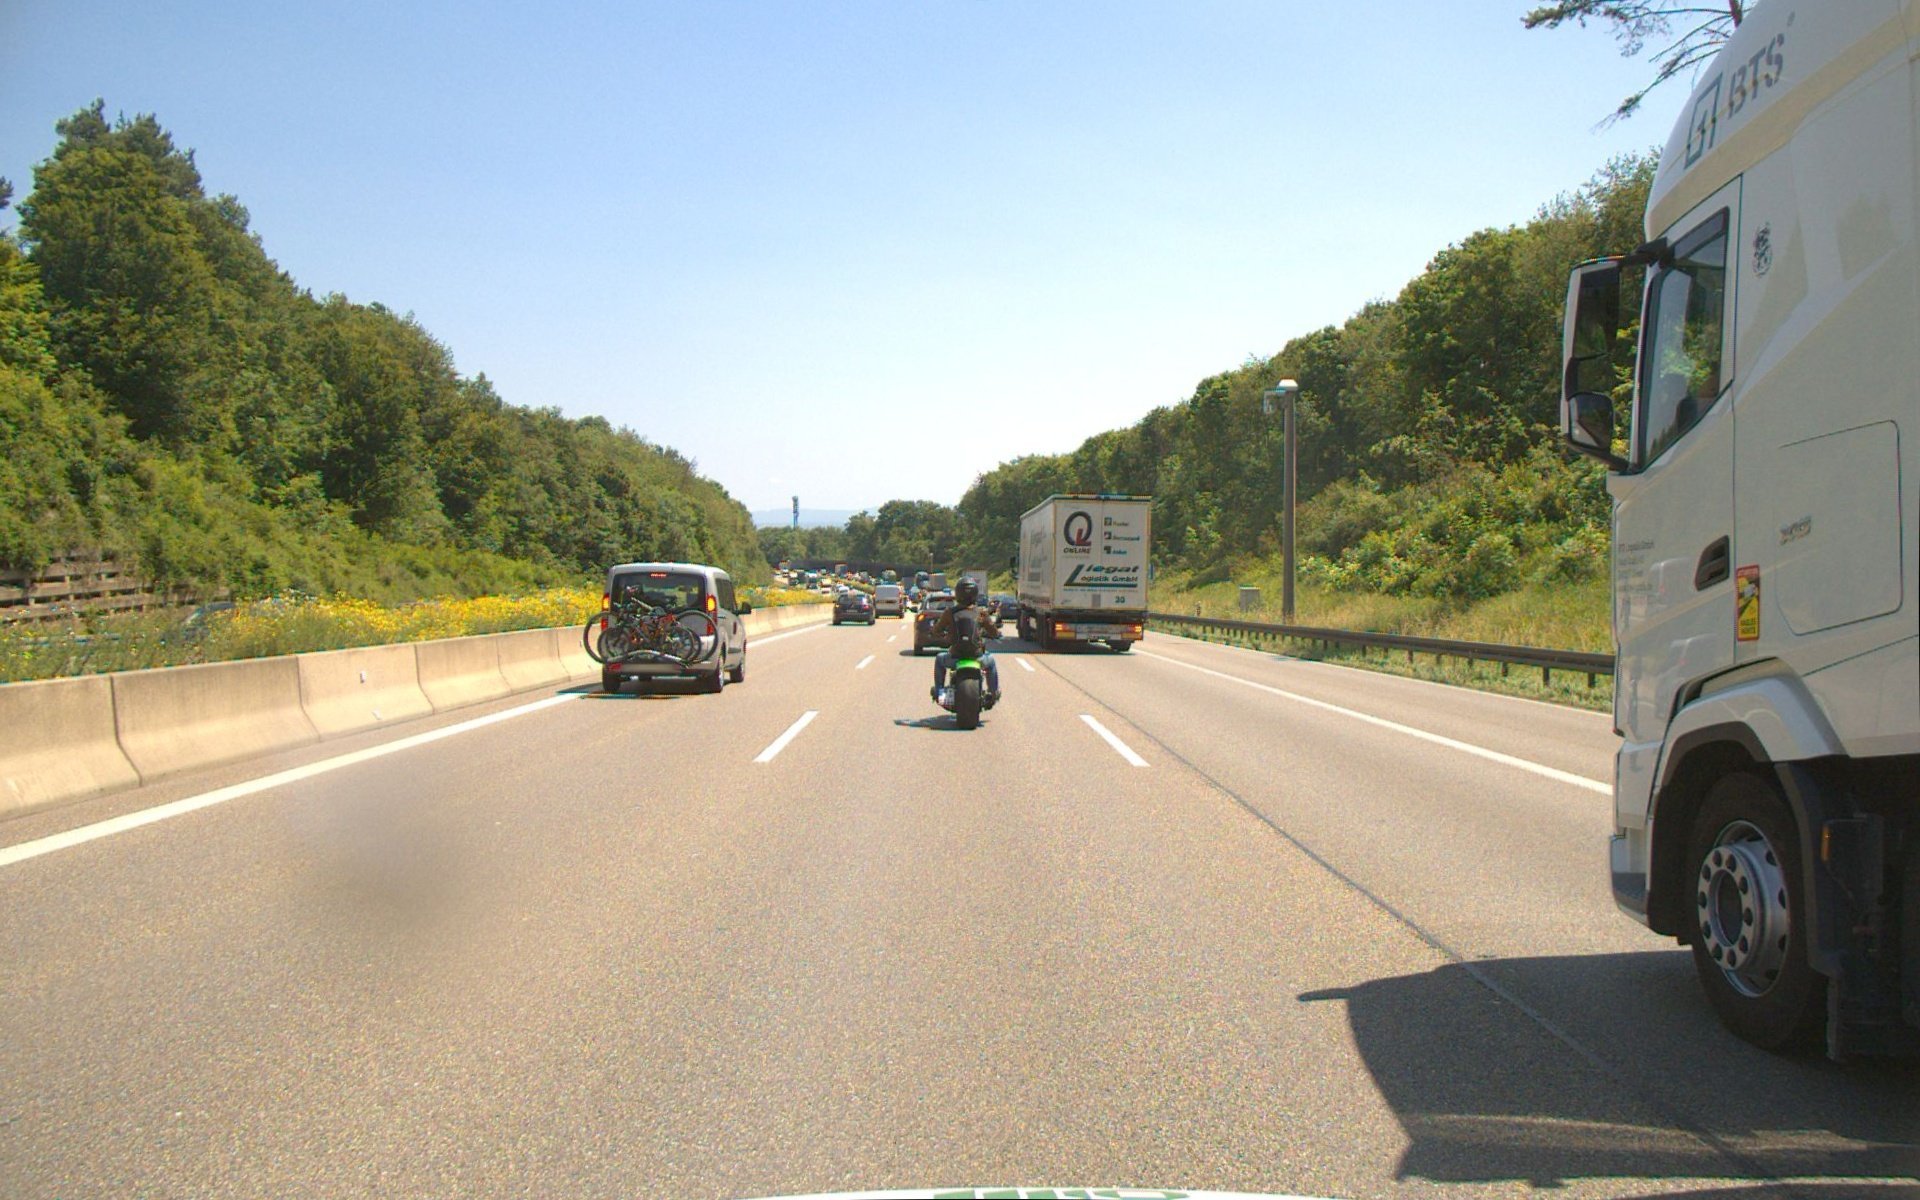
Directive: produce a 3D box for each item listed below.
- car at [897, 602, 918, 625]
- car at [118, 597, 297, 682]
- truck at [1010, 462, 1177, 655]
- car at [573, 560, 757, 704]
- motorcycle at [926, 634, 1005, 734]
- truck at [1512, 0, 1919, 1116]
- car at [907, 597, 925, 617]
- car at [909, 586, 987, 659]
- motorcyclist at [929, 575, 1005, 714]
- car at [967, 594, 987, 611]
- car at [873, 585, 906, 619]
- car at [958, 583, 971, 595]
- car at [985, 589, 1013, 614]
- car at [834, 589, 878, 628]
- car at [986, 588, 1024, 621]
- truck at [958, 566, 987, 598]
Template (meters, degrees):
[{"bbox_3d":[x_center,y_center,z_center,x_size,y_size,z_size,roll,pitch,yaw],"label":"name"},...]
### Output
[{"bbox_3d":[-4.655,1.155,147.012,1.794,1.842,4.119,1,1,-1],"label":"car"},{"bbox_3d":[-15.050,0.739,33.336,1.752,1.548,4.202,-1,0,-2],"label":"car"},{"bbox_3d":[3.657,-1.235,50.839,3.315,4.799,17.707,2,1,-1],"label":"truck"},{"bbox_3d":[-4.305,0.368,24.981,1.860,1.880,5.482,1,1,-1],"label":"car"},{"bbox_3d":[0.065,0.930,18.940,0.844,0.999,2.131,1,1,0],"label":"motorcycle"},{"bbox_3d":[3.986,-0.588,2.474,2.625,4.130,10.625,1,1,0],"label":"truck"},{"bbox_3d":[-4.472,0.664,167.911,1.794,1.842,4.119,1,1,-1],"label":"car"},{"bbox_3d":[-0.315,0.503,40.966,1.808,1.584,4.439,1,1,-1],"label":"car"},{"bbox_3d":[0.077,0.494,18.930,0.838,1.541,0.914,1,0,0],"label":"motorcyclist"},{"bbox_3d":[1.706,0.215,167.043,1.794,1.585,4.119,1,1,-1],"label":"car"},{"bbox_3d":[-4.113,0.096,96.697,1.794,1.842,4.119,1,1,-1],"label":"car"},{"bbox_3d":[0.654,-1.651,245.048,1.794,1.585,4.119,1,1,-1],"label":"car"},{"bbox_3d":[2.738,0.080,116.060,1.794,1.585,4.119,1,1,-1],"label":"car"},{"bbox_3d":[-4.642,0.369,74.165,1.722,1.570,4.394,1,1,-1],"label":"car"},{"bbox_3d":[2.379,0.221,87.520,1.794,1.585,4.119,1,1,-1],"label":"car"},{"bbox_3d":[1.428,-2.102,189.478,3.005,3.404,9.651,2,1,-1],"label":"truck"}]
